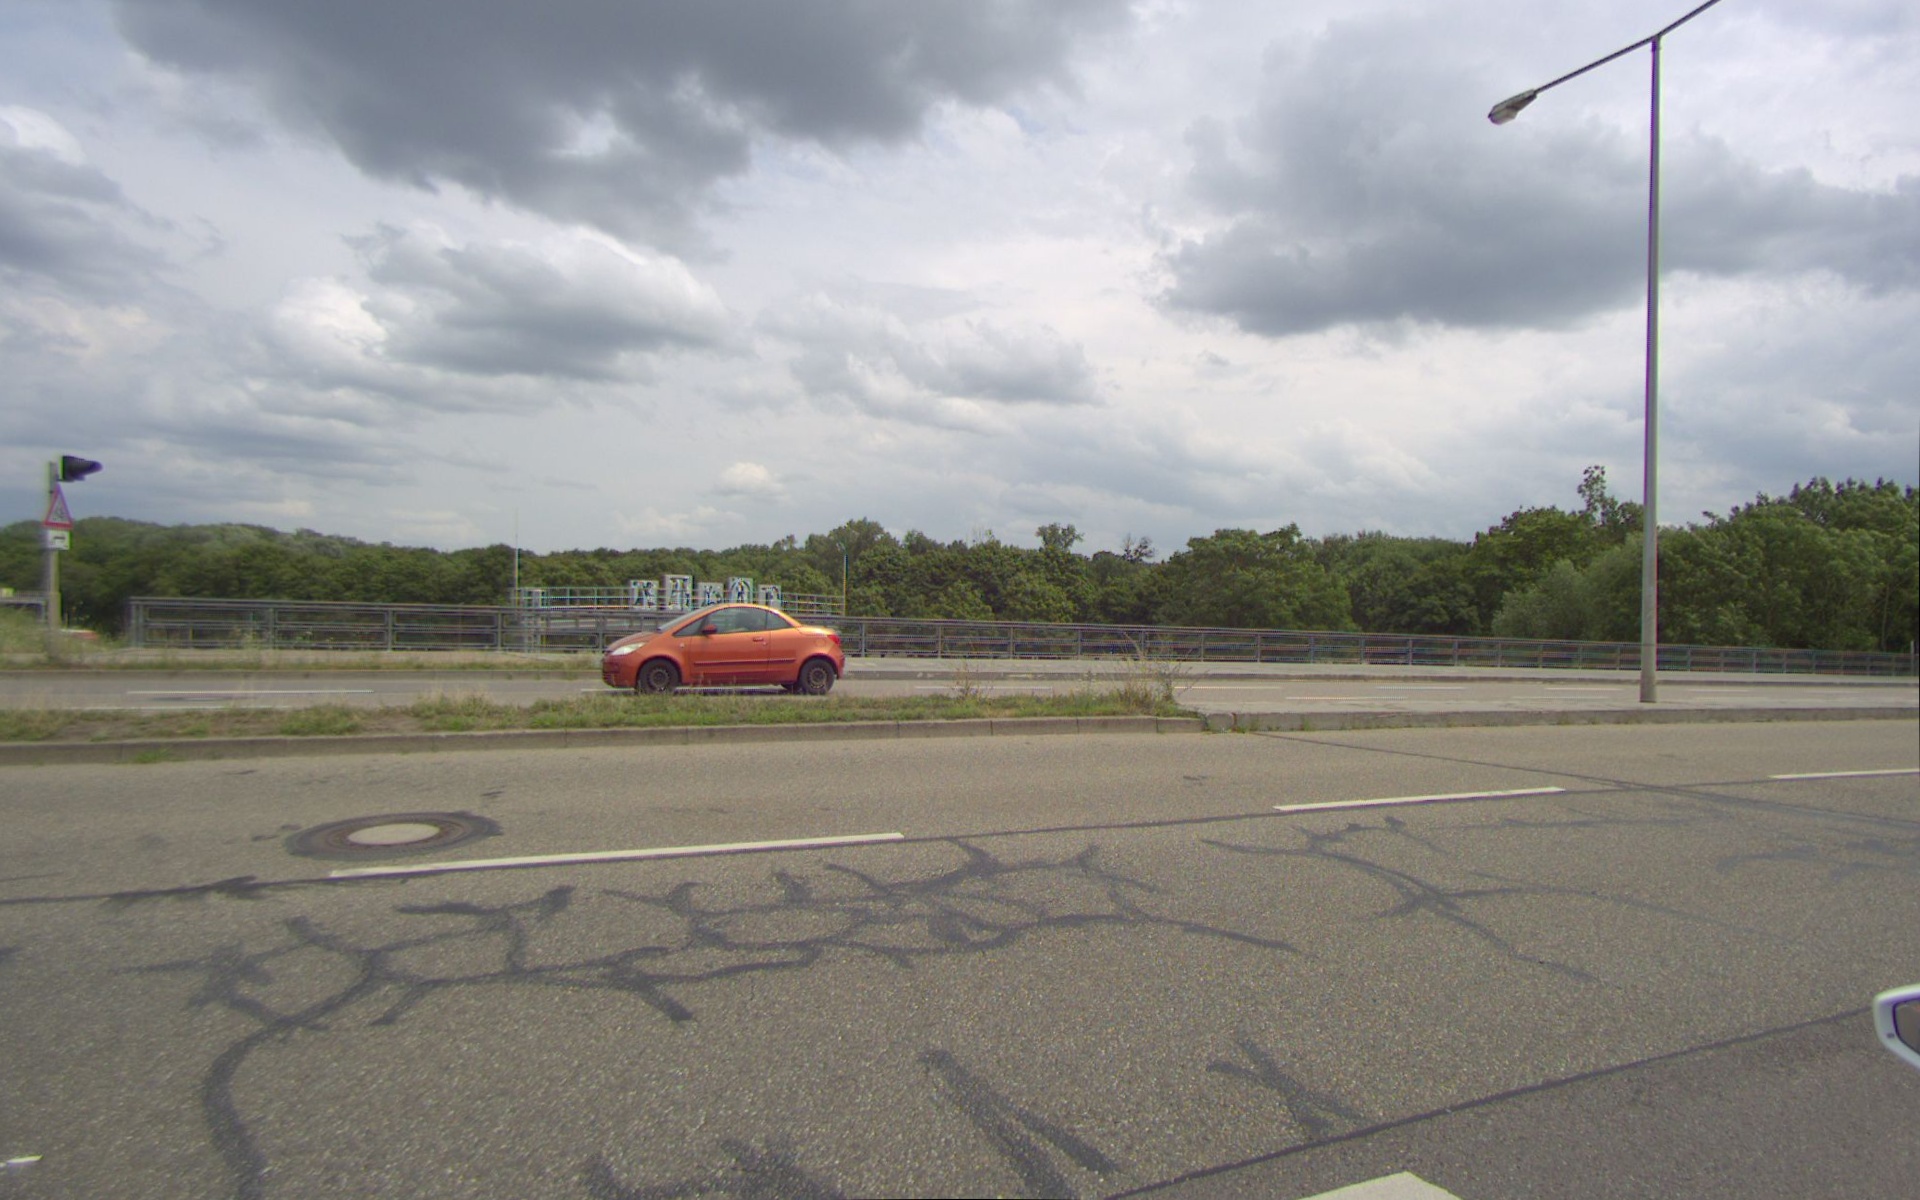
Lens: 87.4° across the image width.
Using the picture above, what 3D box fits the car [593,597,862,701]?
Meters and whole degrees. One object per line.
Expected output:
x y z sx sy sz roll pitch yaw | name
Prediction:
-3.739 0.789 16.208 3.946 1.513 1.686 2 -2 -26 | car
